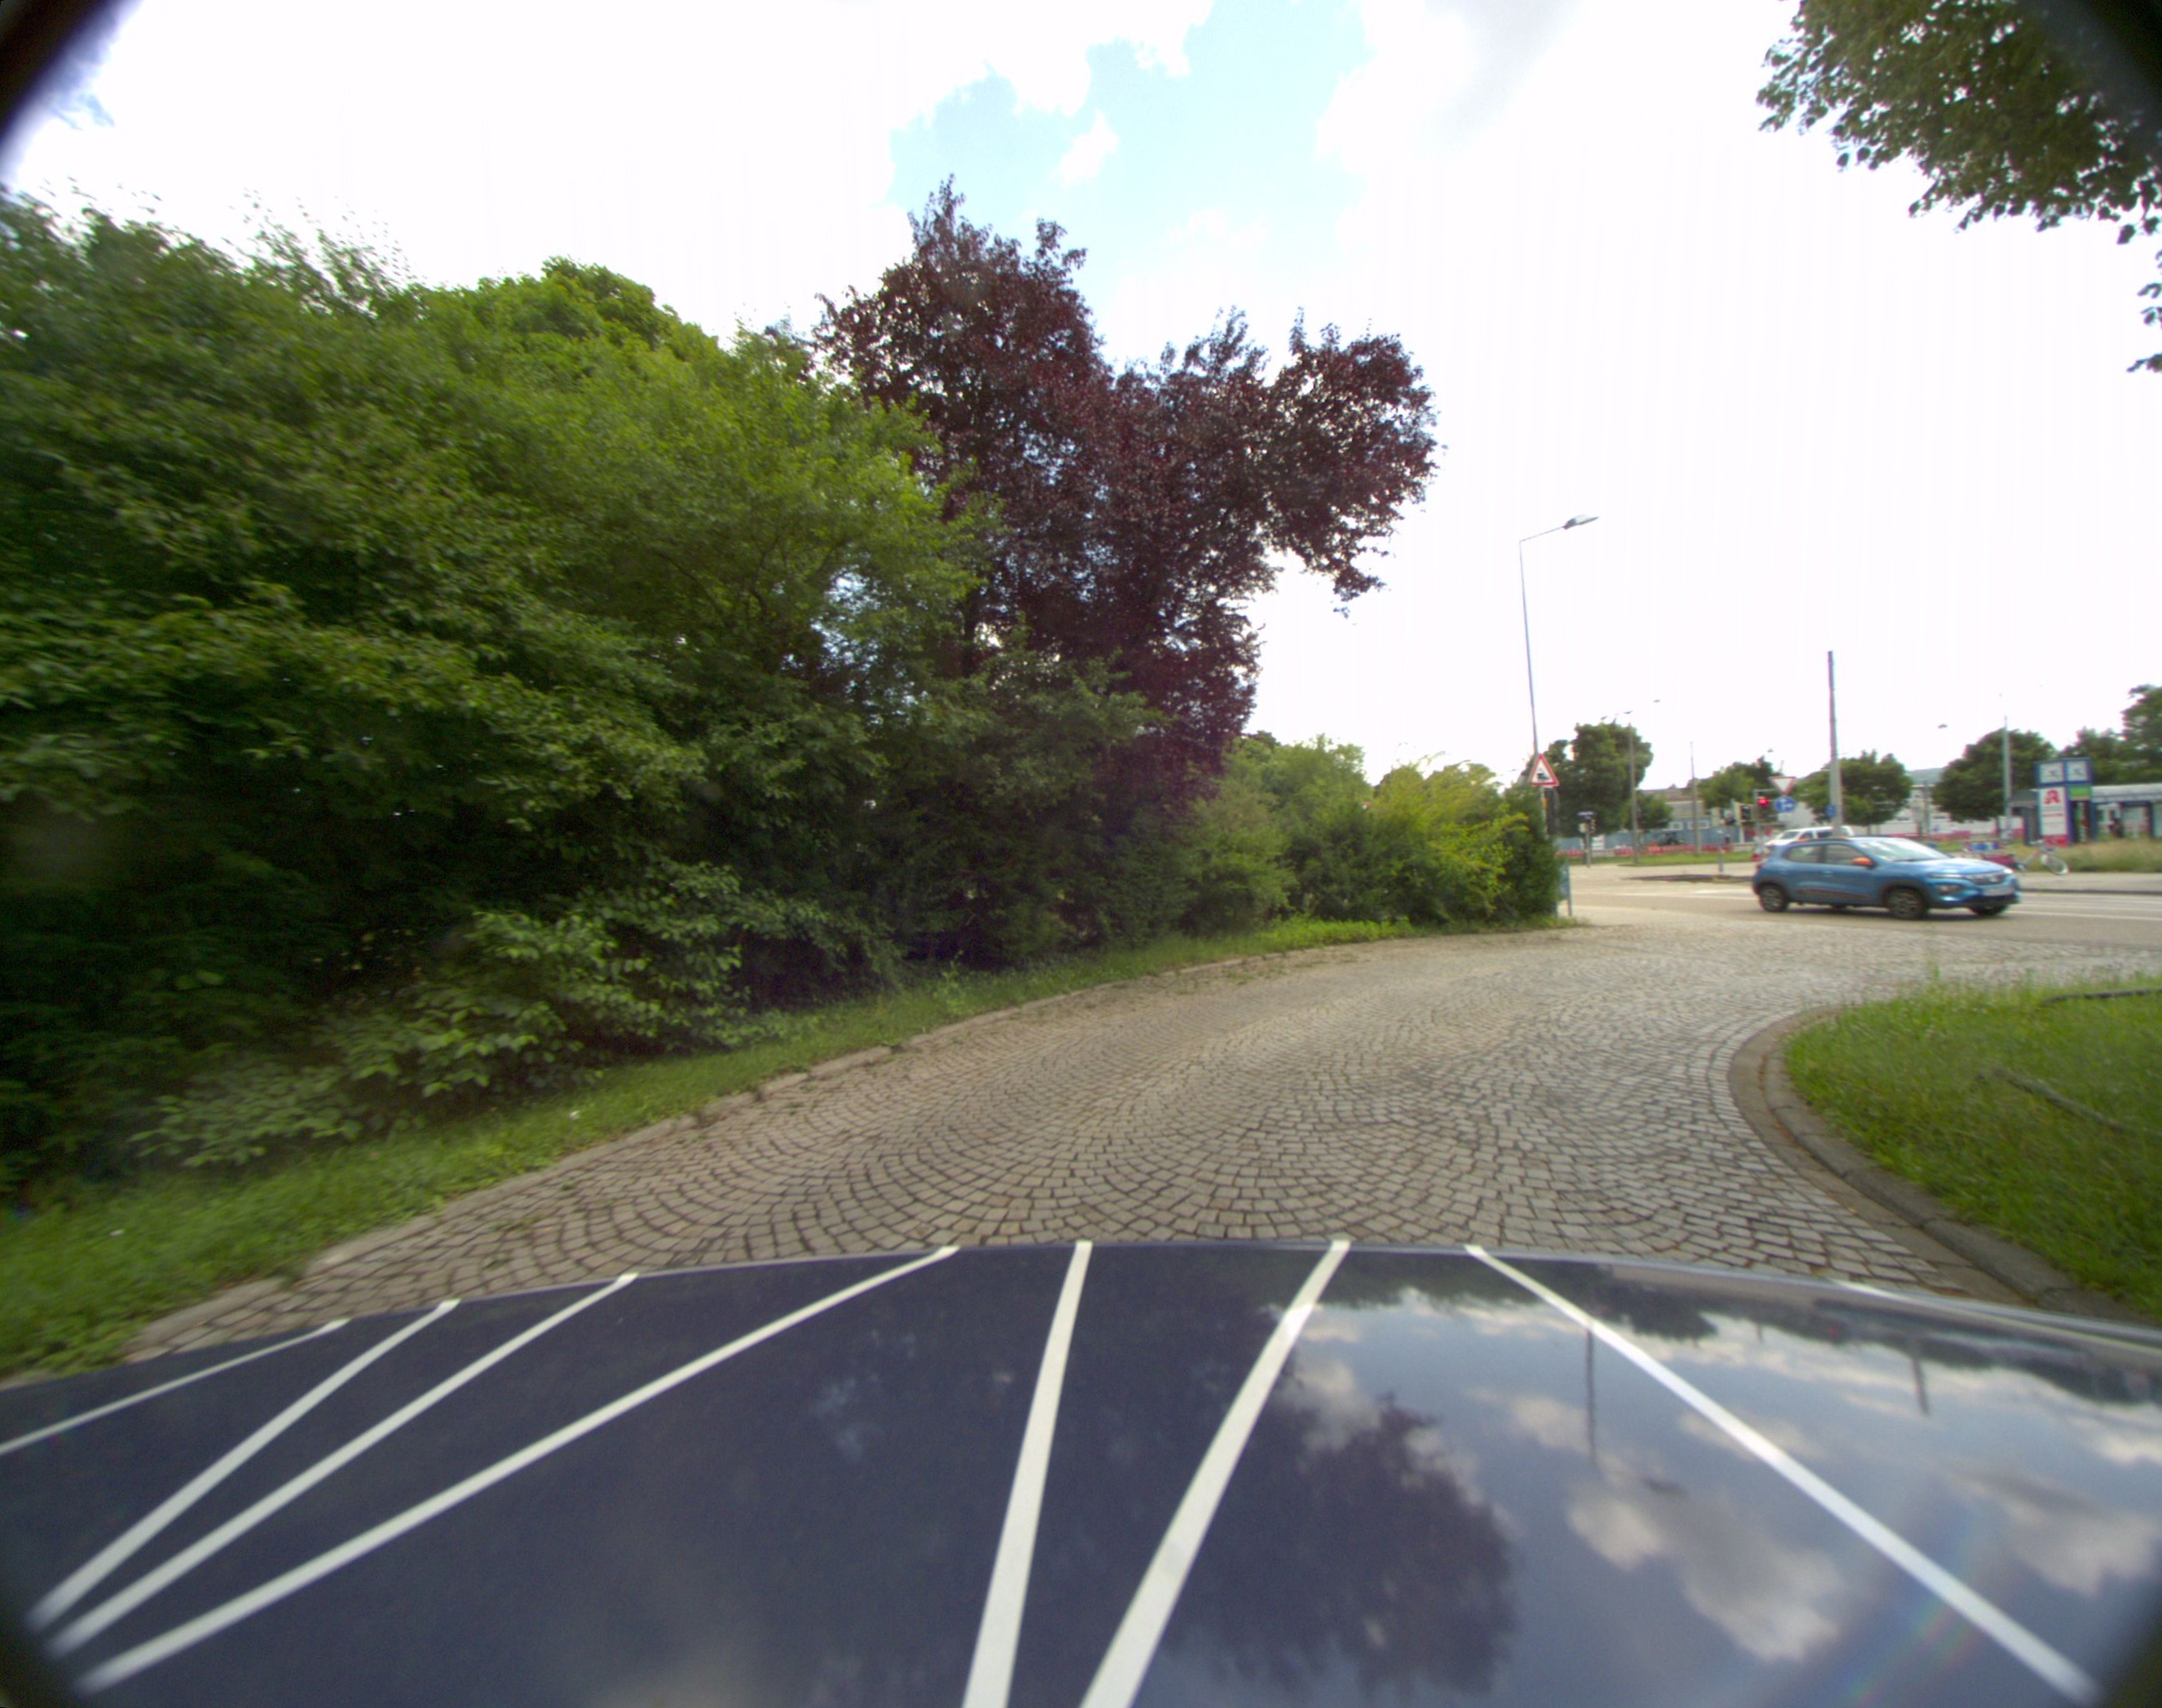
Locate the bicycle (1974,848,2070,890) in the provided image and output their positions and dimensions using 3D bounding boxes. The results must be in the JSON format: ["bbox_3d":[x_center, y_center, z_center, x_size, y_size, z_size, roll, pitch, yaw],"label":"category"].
[{"bbox_3d":[27.874,0.458,22.540,0.702,1.125,1.657,-3,-2,-32],"label":"bicycle"}]

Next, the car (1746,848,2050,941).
[{"bbox_3d":[14.991,0.712,14.283,1.604,1.455,3.703,-2,-1,-2],"label":"car"}]

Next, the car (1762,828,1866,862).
[{"bbox_3d":[49.204,-0.597,51.116,4.827,2.001,2.001,-3,0,4],"label":"car"}]

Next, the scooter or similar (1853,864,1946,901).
[{"bbox_3d":[23.338,0.801,21.708,0.961,0.973,1.581,-2,-1,5],"label":"scooter or similar"}]
